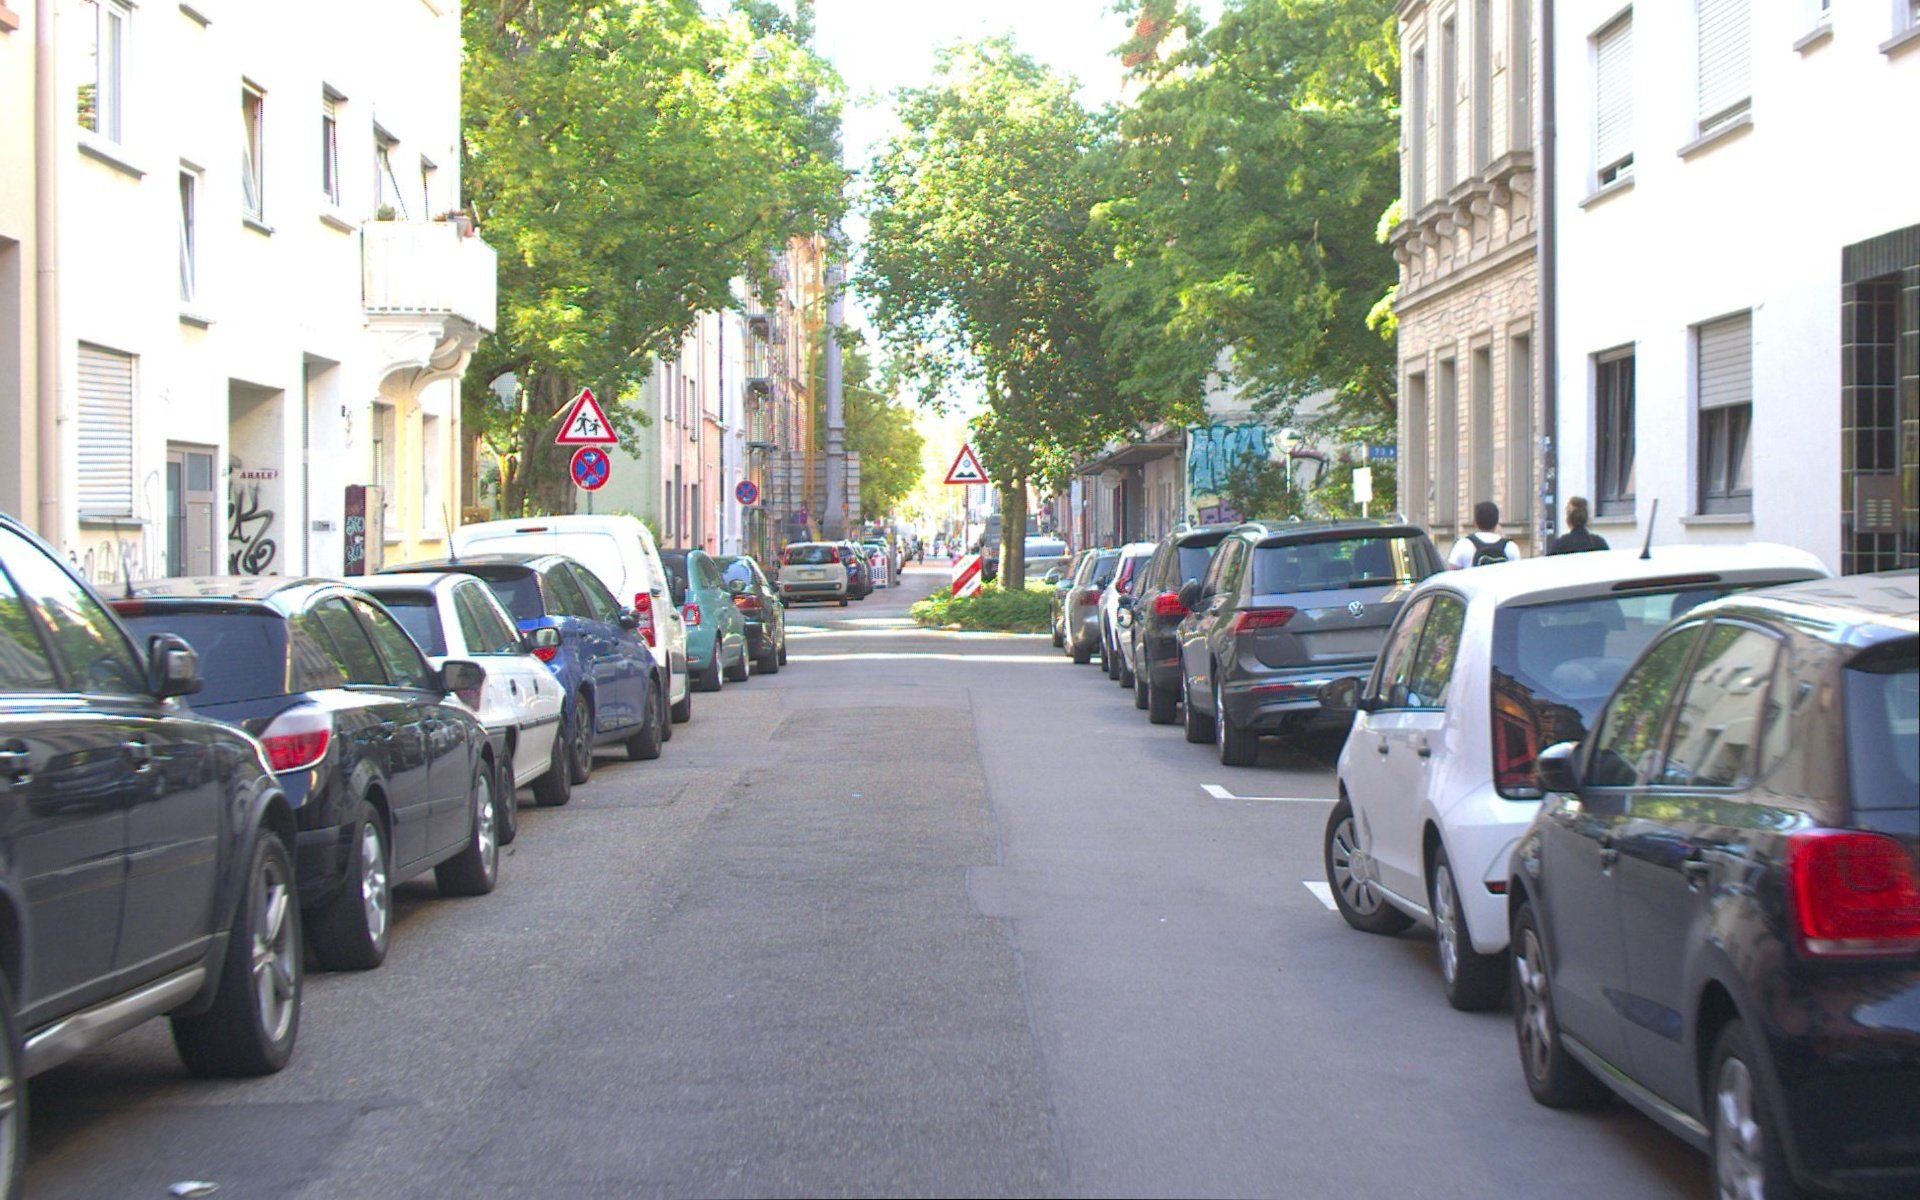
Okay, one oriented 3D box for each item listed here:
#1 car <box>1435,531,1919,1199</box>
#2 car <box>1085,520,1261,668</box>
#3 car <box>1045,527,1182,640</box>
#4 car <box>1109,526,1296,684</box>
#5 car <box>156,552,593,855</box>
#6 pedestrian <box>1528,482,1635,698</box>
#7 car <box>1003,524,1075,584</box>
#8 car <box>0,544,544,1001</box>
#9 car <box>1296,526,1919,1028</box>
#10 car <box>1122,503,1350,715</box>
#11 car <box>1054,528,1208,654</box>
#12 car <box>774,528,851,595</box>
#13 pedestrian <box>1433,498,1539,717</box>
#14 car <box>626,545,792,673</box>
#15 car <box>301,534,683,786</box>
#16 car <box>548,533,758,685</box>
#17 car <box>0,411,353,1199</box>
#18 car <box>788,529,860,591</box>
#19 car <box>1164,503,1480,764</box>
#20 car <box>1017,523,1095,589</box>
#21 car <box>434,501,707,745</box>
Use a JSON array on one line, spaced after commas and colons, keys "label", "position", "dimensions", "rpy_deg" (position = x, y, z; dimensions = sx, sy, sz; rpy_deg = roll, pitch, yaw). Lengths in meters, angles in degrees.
[{"label": "car", "position": [2.296, 0.613, 8.213], "dimensions": [1.676, 1.501, 3.938], "rpy_deg": [-2, 1, -1]}, {"label": "car", "position": [2.391, -0.107, 39.425], "dimensions": [1.676, 1.556, 3.796], "rpy_deg": [-2, 1, -1]}, {"label": "car", "position": [2.166, -0.270, 49.332], "dimensions": [1.676, 1.482, 4.095], "rpy_deg": [-2, 1, -1]}, {"label": "car", "position": [2.436, 0.006, 35.214], "dimensions": [1.566, 1.478, 3.619], "rpy_deg": [-2, 1, -1]}, {"label": "car", "position": [-3.084, 0.477, 18.883], "dimensions": [1.673, 1.383, 4.182], "rpy_deg": [-2, 1, 0]}, {"label": "pedestrian", "position": [4.849, -0.082, 26.857], "dimensions": [0.685, 1.654, 0.717], "rpy_deg": [-1, 1, 0]}, {"label": "car", "position": [2.044, -1.212, 89.743], "dimensions": [1.676, 1.482, 3.638], "rpy_deg": [-2, 1, -1]}, {"label": "car", "position": [-2.911, 0.568, 14.017], "dimensions": [1.743, 1.501, 4.346], "rpy_deg": [-2, 1, 2]}, {"label": "car", "position": [2.320, 0.509, 12.675], "dimensions": [1.676, 1.501, 3.938], "rpy_deg": [-2, 1, -1]}, {"label": "car", "position": [2.346, 0.053, 30.105], "dimensions": [1.676, 1.676, 4.094], "rpy_deg": [-2, 0, 1]}, {"label": "car", "position": [2.164, -0.156, 44.330], "dimensions": [1.676, 1.482, 4.095], "rpy_deg": [-2, 1, -1]}, {"label": "car", "position": [-3.491, -0.944, 81.882], "dimensions": [1.676, 1.482, 4.095], "rpy_deg": [-2, 1, -1]}, {"label": "pedestrian", "position": [4.053, 0.050, 26.547], "dimensions": [0.685, 1.654, 0.717], "rpy_deg": [-1, 1, 0]}, {"label": "car", "position": [-2.939, 0.066, 40.866], "dimensions": [1.670, 1.356, 4.049], "rpy_deg": [-2, 1, 0]}, {"label": "car", "position": [-3.062, 0.339, 23.275], "dimensions": [1.674, 1.481, 3.991], "rpy_deg": [-2, 1, 5]}, {"label": "car", "position": [-3.218, 0.057, 36.683], "dimensions": [1.670, 1.464, 3.820], "rpy_deg": [-2, 1, 3]}, {"label": "car", "position": [-2.859, 0.501, 8.427], "dimensions": [1.743, 1.805, 4.672], "rpy_deg": [-2, 1, 2]}, {"label": "car", "position": [-3.437, -1.037, 87.303], "dimensions": [1.676, 1.482, 4.095], "rpy_deg": [-2, 1, -1]}, {"label": "car", "position": [2.532, 0.185, 24.962], "dimensions": [1.676, 1.621, 4.251], "rpy_deg": [-4, 1, -1]}, {"label": "car", "position": [2.299, -1.081, 83.243], "dimensions": [1.676, 1.482, 3.638], "rpy_deg": [-2, 1, -1]}, {"label": "car", "position": [-3.085, 0.124, 27.956], "dimensions": [1.765, 1.779, 4.039], "rpy_deg": [-2, 1, -1]}]
